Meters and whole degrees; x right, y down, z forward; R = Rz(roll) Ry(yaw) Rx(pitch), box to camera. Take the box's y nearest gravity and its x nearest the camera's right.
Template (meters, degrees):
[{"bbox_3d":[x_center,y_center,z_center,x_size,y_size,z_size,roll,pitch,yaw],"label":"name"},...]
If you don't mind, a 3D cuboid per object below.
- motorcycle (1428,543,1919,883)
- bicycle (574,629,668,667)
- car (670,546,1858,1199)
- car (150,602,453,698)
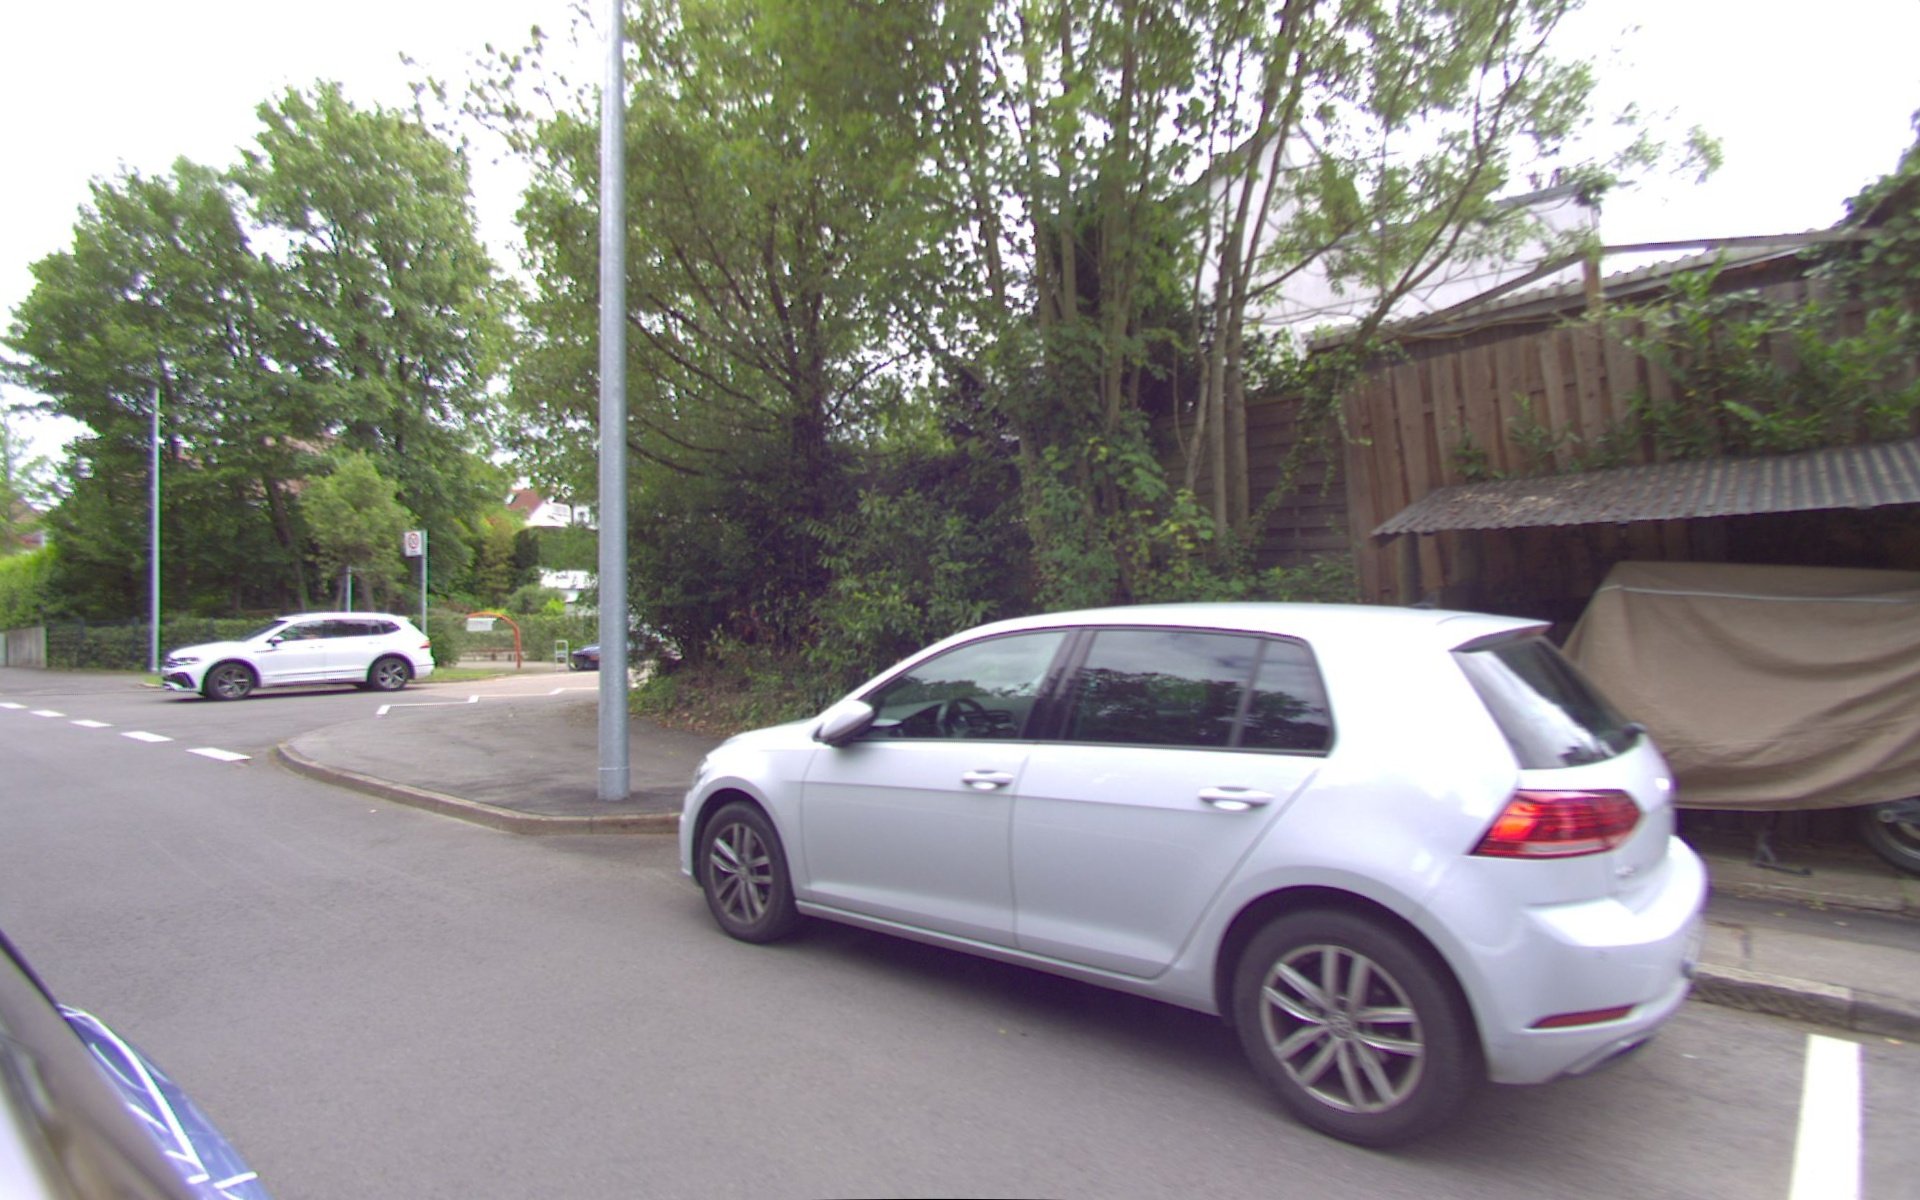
[{"bbox_3d":[4.045,0.503,5.158,2.895,1.496,0.801,-1,0,42],"label":"motorcycle"},{"bbox_3d":[-9.772,1.367,29.173,2.540,1.009,0.655,-1,-1,-21],"label":"bicycle"},{"bbox_3d":[0.761,0.657,3.985,4.073,1.479,1.688,-1,0,40],"label":"car"},{"bbox_3d":[-13.379,0.927,20.810,2.037,1.682,4.882,-1,0,42],"label":"car"}]
